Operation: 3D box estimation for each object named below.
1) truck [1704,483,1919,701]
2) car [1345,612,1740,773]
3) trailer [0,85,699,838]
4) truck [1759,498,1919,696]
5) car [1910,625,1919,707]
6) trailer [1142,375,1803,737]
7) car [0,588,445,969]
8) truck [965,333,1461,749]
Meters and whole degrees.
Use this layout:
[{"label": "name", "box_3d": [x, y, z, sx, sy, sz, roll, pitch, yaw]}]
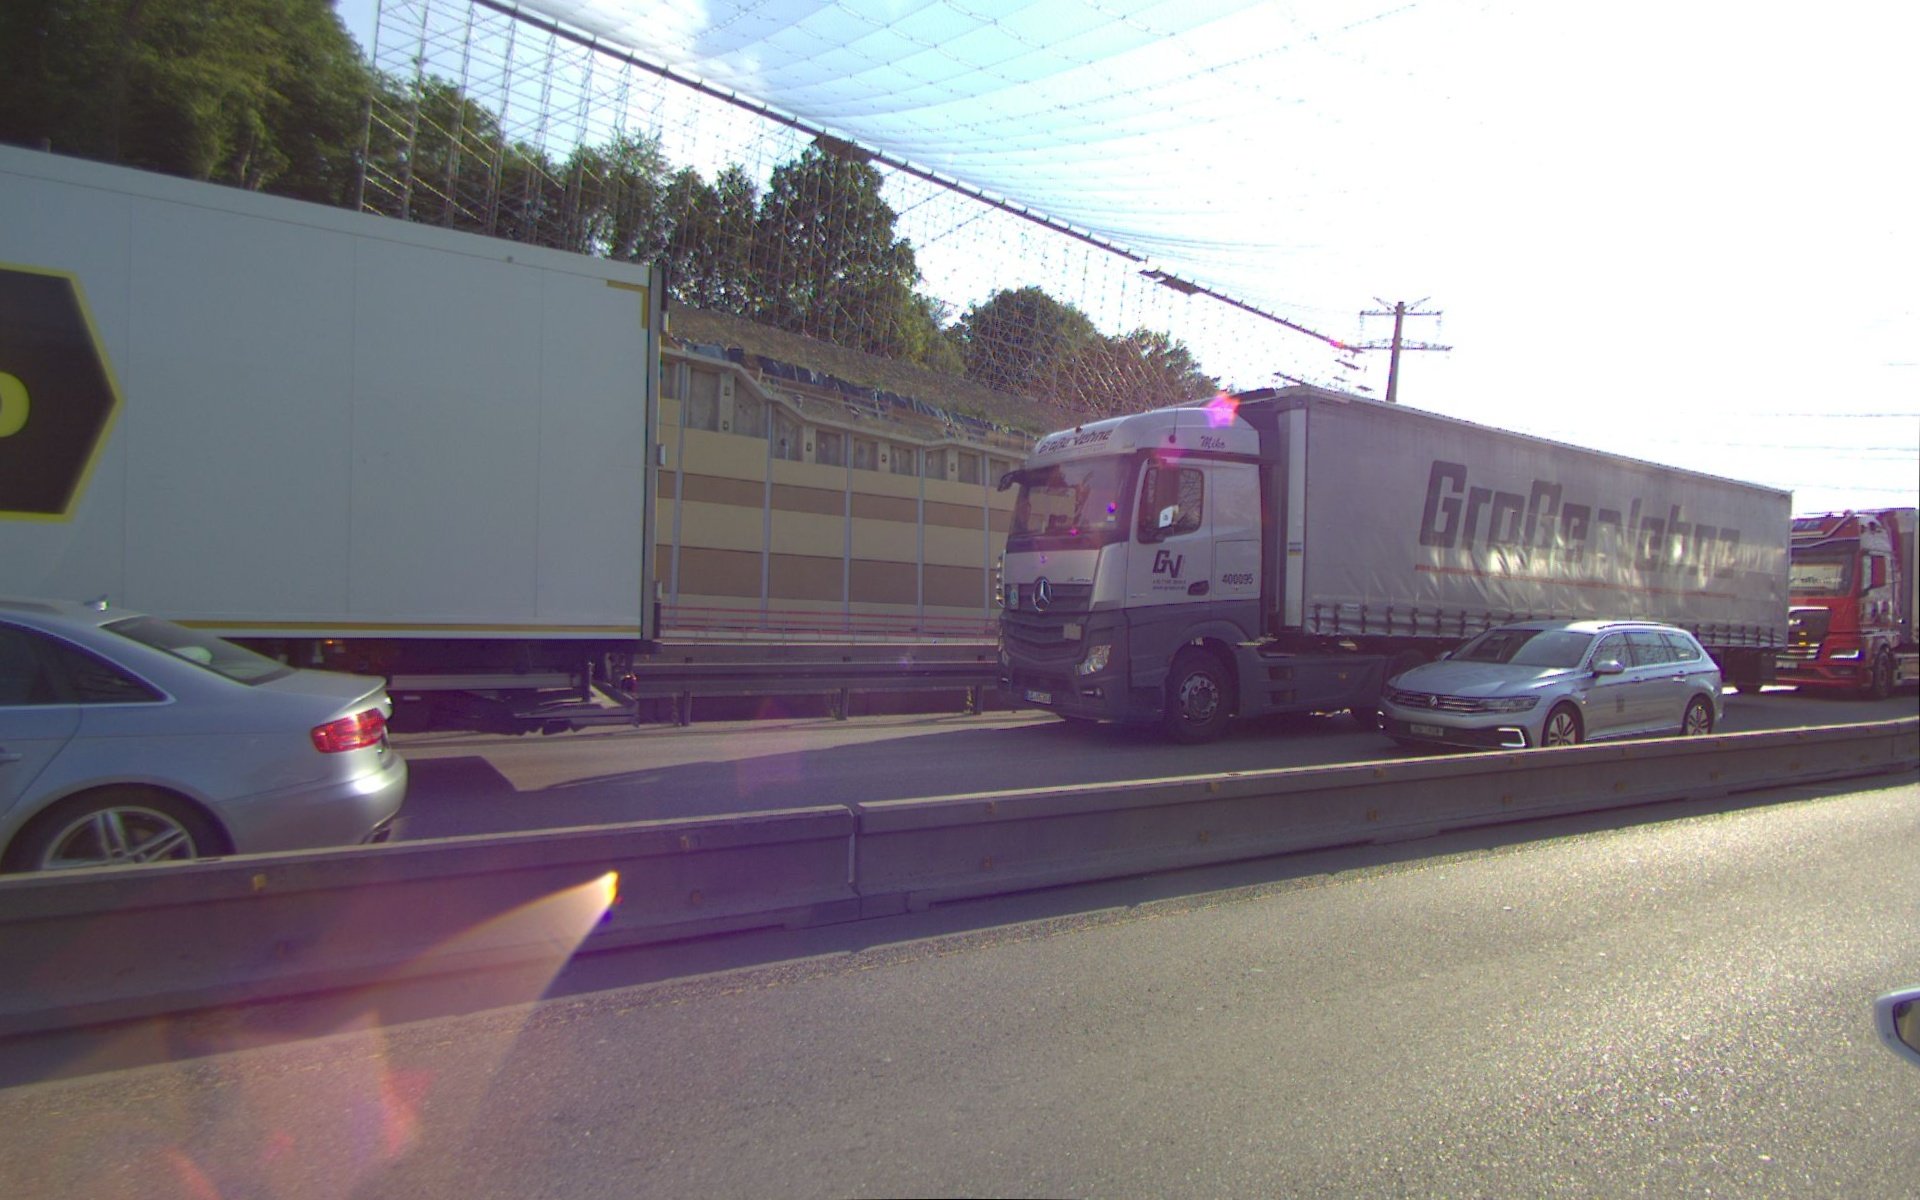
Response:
[{"label": "truck", "box_3d": [19.600, -0.061, 22.404, 6.611, 4.196, 2.770, 2, -1, -34]}, {"label": "car", "box_3d": [6.639, 0.929, 11.282, 4.782, 1.458, 1.723, 2, 0, -31]}, {"label": "trailer", "box_3d": [-8.702, -0.895, 5.634, 13.719, 4.391, 2.753, 2, -1, -30]}, {"label": "truck", "box_3d": [25.098, 0.137, 26.193, 13.667, 4.196, 2.770, 2, -1, -35]}, {"label": "car", "box_3d": [19.591, 1.277, 18.815, 4.354, 1.483, 1.640, 2, 1, -34]}, {"label": "trailer", "box_3d": [9.178, -0.297, 16.437, 13.808, 4.196, 2.784, 2, -1, -31]}, {"label": "car", "box_3d": [-4.865, 0.655, 4.087, 4.834, 1.396, 1.722, 2, 1, -31]}, {"label": "truck", "box_3d": [3.324, -0.516, 12.856, 5.867, 4.196, 2.773, 2, -1, -31]}]
